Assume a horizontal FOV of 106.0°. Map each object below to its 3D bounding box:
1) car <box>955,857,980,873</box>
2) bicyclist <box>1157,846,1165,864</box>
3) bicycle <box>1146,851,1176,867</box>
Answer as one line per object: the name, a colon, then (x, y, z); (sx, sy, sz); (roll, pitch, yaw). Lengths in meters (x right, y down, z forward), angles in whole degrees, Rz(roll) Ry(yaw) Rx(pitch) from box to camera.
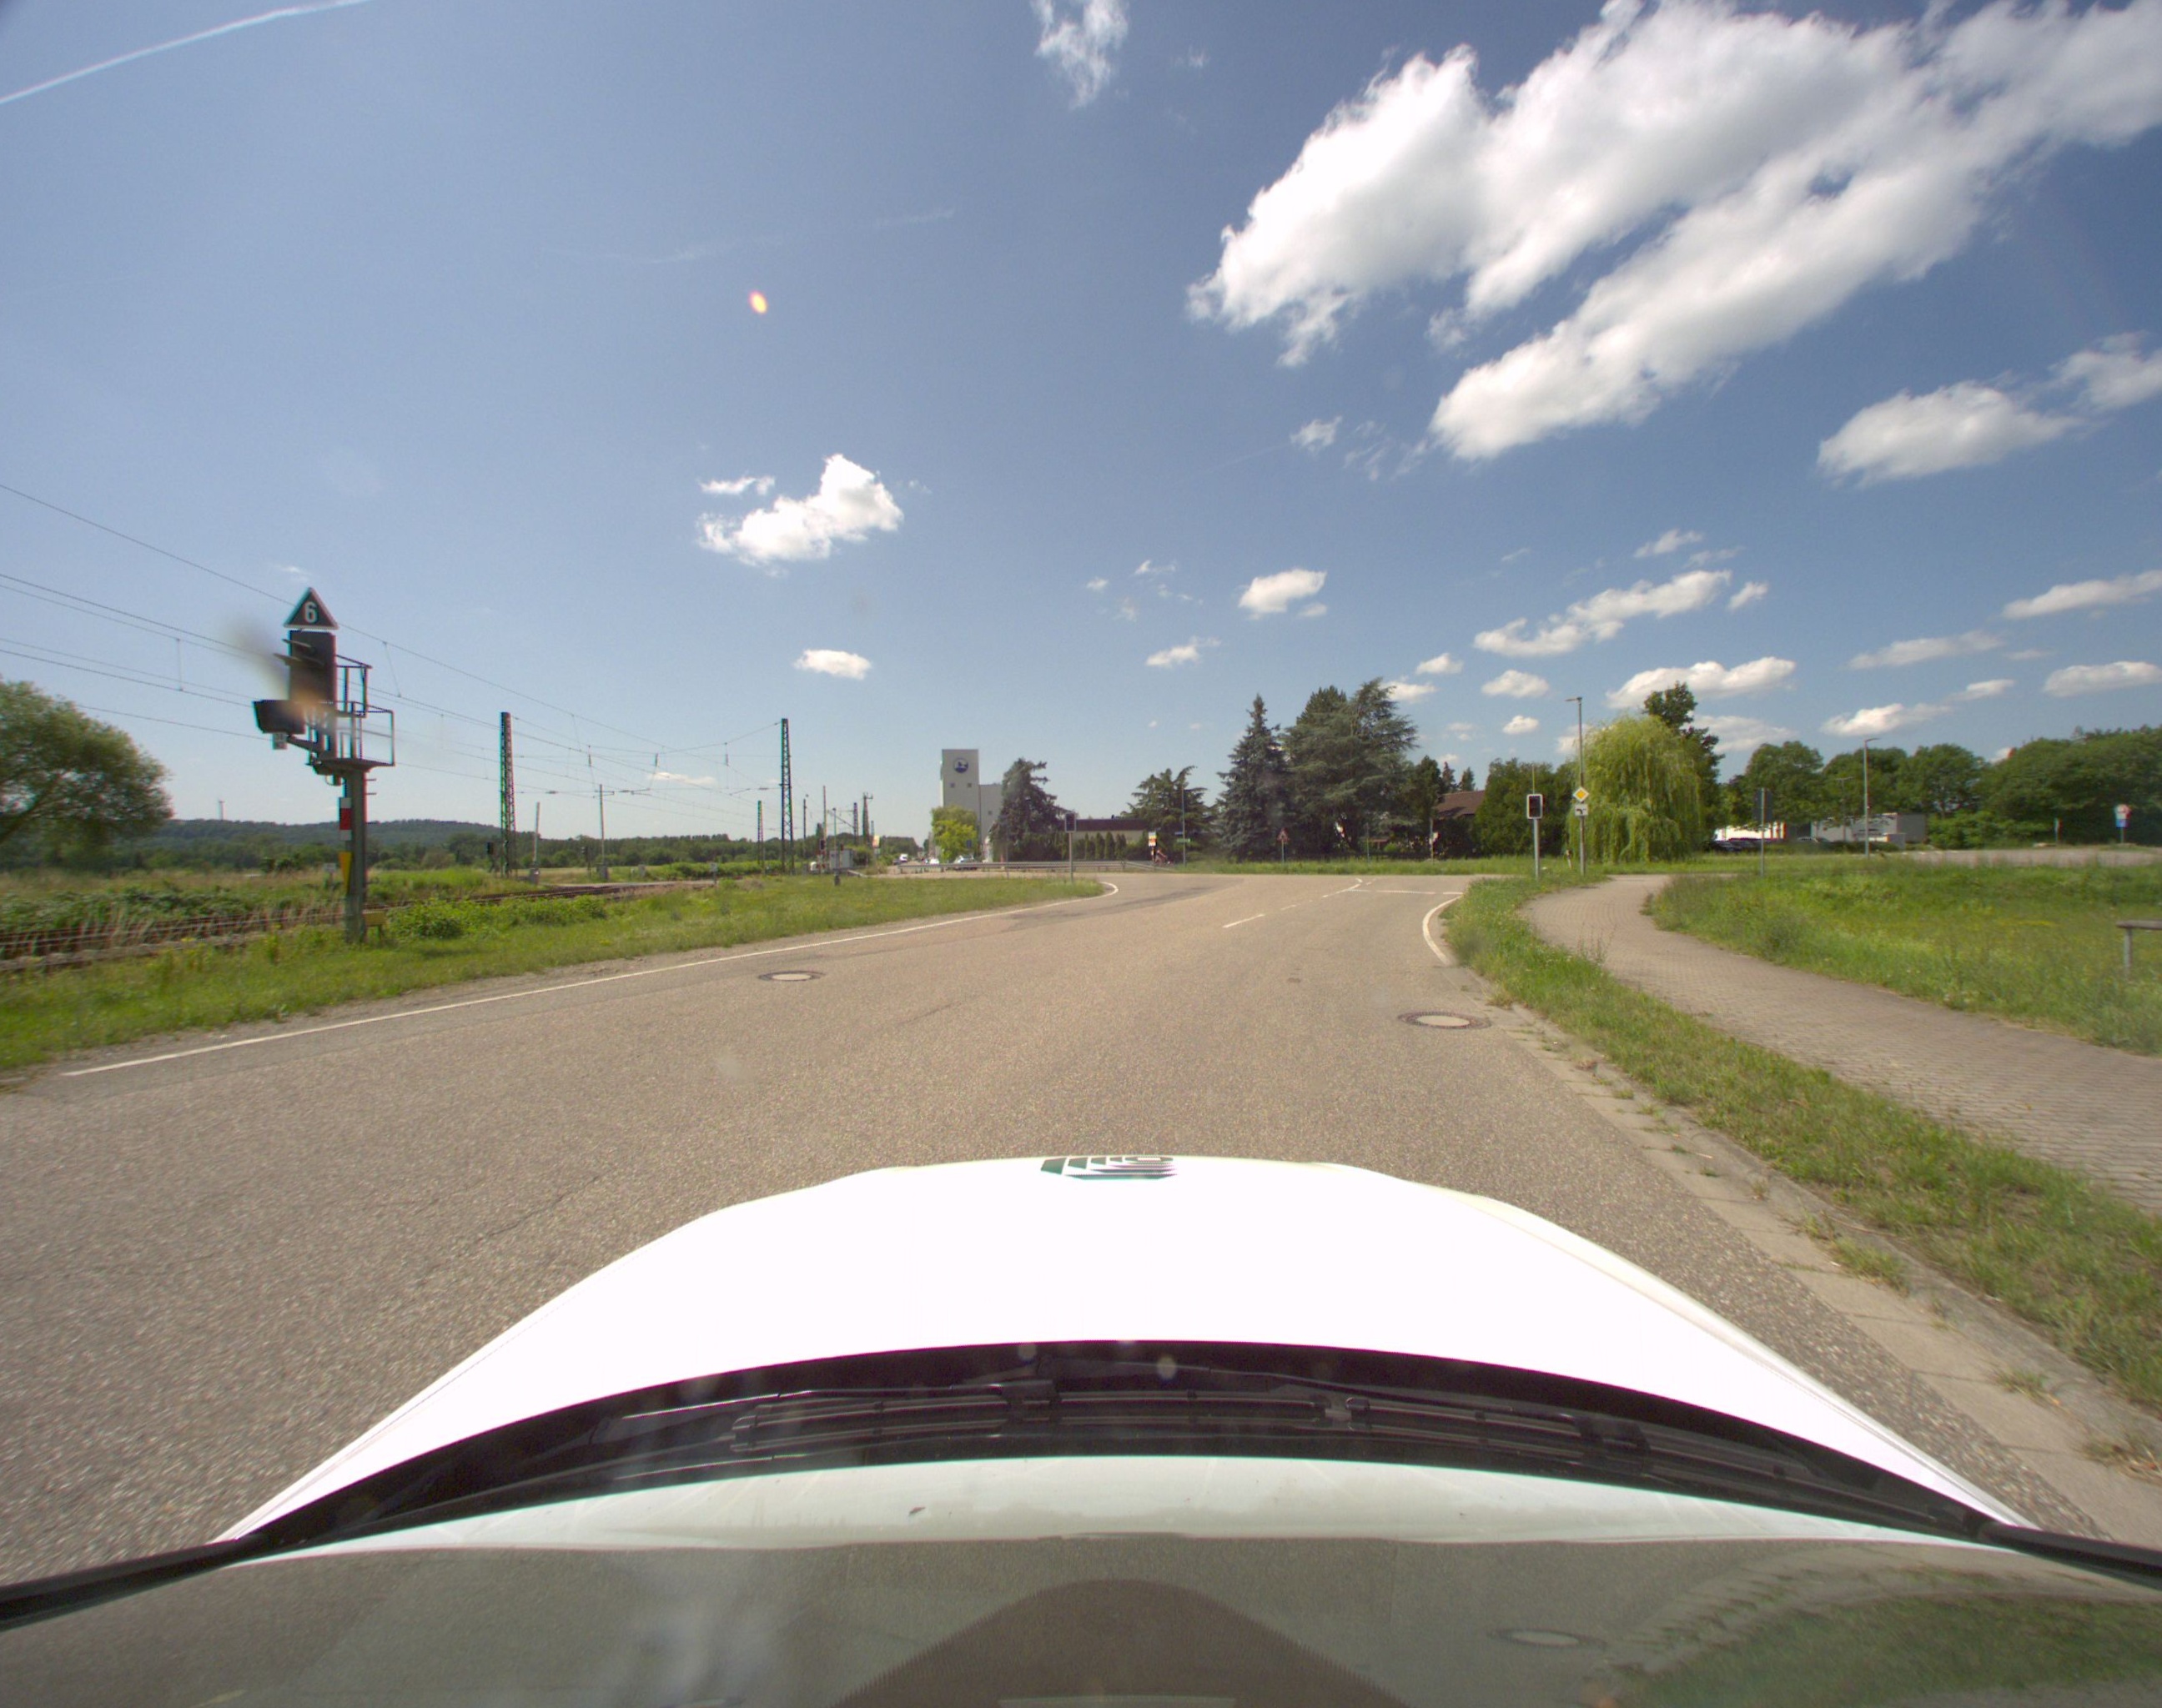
car: (-12.097, 1.128, 86.335); (1.998, 1.510, 4.430); (-1, 0, -16)
bicyclist: (5.756, 0.064, 58.504); (0.506, 1.255, 0.471); (-1, 0, 11)
bicycle: (5.756, 0.357, 58.523); (2.126, 1.164, 0.663); (-1, 0, 11)
